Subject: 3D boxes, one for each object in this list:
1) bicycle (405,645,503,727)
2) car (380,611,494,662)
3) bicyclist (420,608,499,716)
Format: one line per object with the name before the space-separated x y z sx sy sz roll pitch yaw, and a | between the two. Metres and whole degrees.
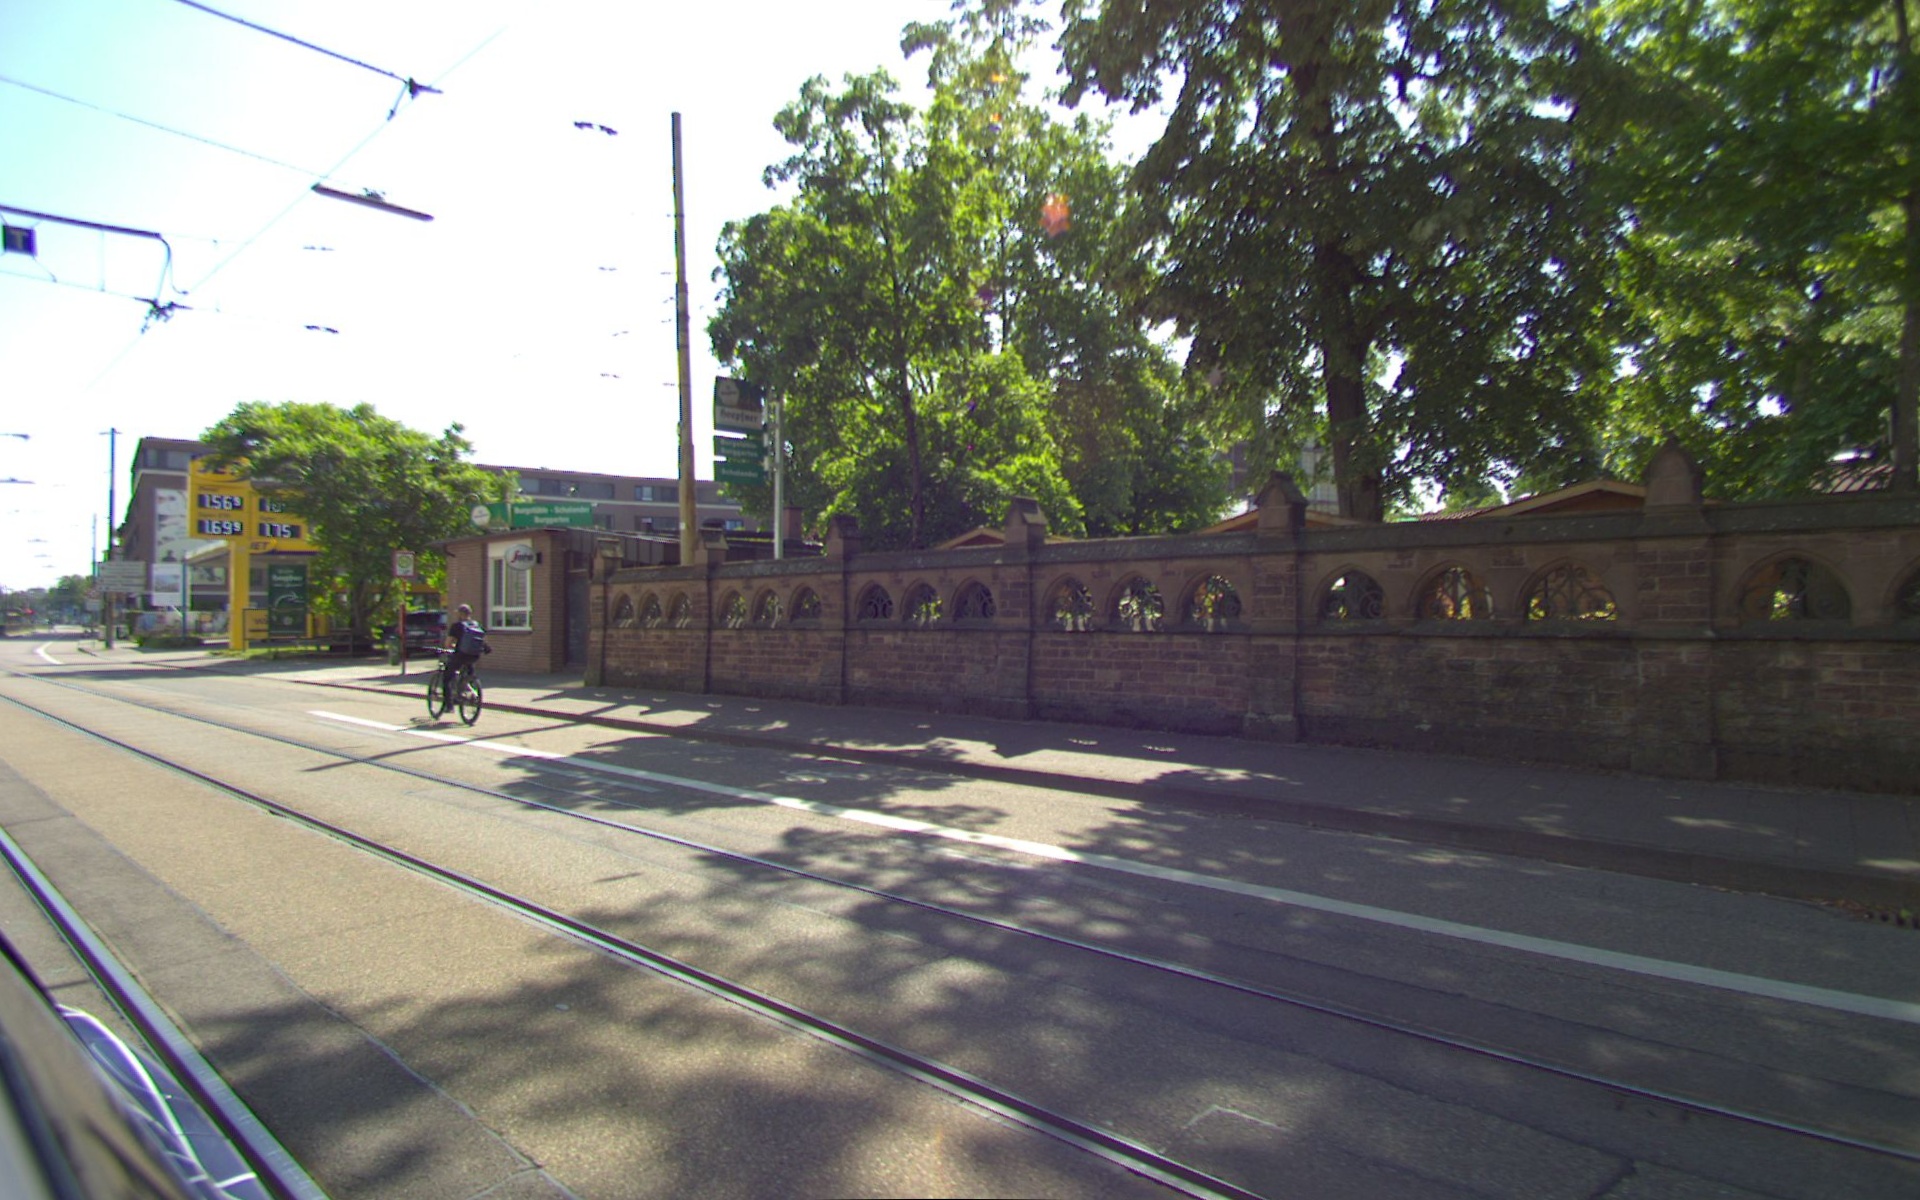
bicycle | -7.596 1.251 15.152 2.053 1.114 0.585 -1 -2 42
car | -18.407 1.237 35.876 1.989 1.653 4.665 0 -1 -5
bicyclist | -7.436 0.889 15.035 0.947 1.542 0.732 -1 -1 41
